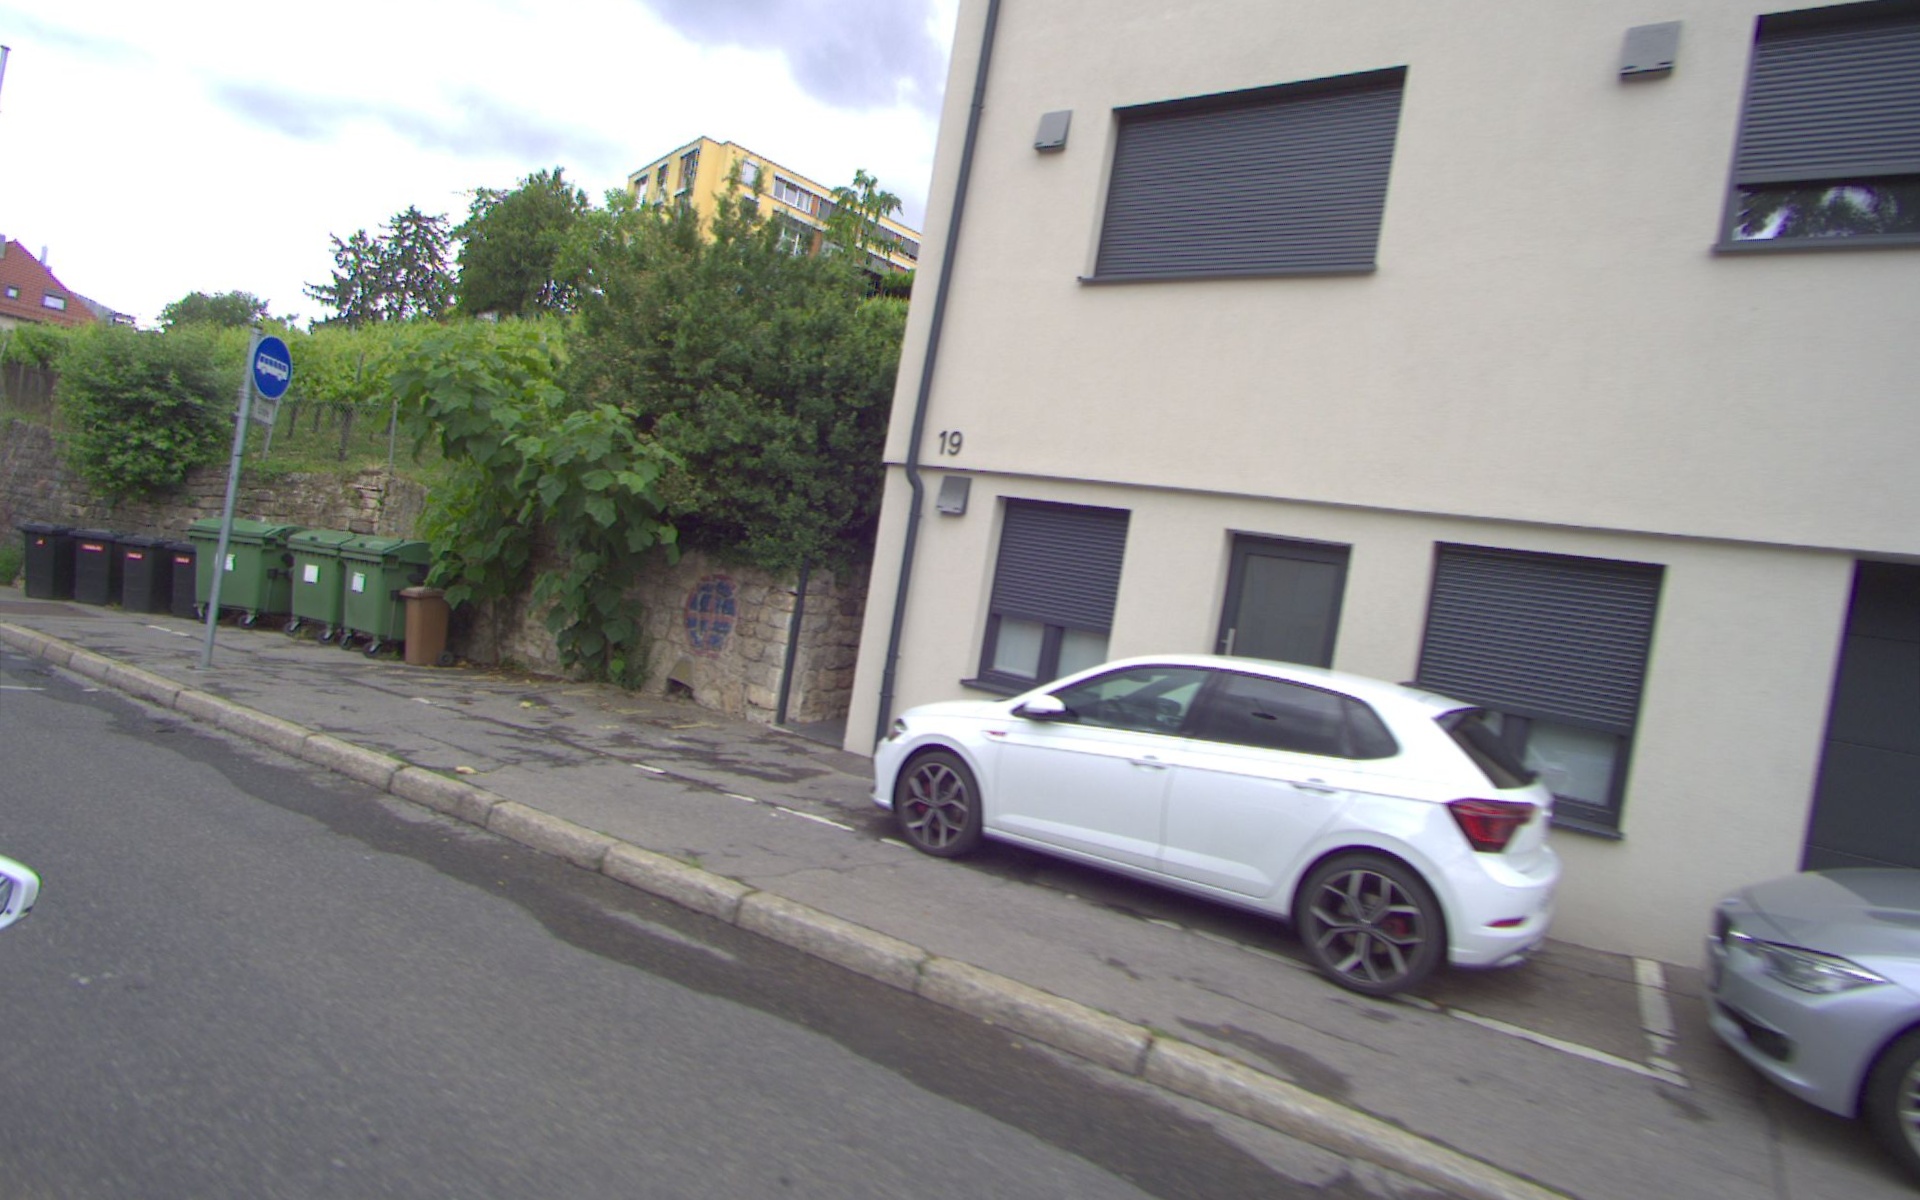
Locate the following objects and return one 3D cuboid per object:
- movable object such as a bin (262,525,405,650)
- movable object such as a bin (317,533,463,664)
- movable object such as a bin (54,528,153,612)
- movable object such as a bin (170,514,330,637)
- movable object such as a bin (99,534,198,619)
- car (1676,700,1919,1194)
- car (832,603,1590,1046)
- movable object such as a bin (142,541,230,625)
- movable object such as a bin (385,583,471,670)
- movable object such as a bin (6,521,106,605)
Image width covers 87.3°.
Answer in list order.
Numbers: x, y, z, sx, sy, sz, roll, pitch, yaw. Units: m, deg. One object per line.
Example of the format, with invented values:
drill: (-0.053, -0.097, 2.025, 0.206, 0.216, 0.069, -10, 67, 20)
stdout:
movable object such as a bin: (-8.334, -0.153, 13.399, 1.184, 1.462, 1.049, 7, 0, 29)
movable object such as a bin: (-7.211, -0.012, 12.745, 1.185, 1.462, 1.049, 7, 0, 32)
movable object such as a bin: (-12.225, -0.417, 14.375, 0.666, 1.071, 0.745, 7, 0, 16)
movable object such as a bin: (-9.810, -0.319, 13.936, 1.392, 1.462, 1.051, 7, 0, 16)
movable object such as a bin: (-11.440, -0.322, 14.194, 0.666, 1.071, 0.745, 7, 0, 16)
car: (5.160, 1.484, 3.076, 4.642, 1.471, 1.793, 8, 3, 35)
car: (1.356, 1.002, 6.071, 3.941, 1.441, 1.794, 8, 1, 35)
movable object such as a bin: (-10.831, -0.233, 14.096, 0.537, 1.071, 0.712, 7, 0, 16)
movable object such as a bin: (-6.449, 0.330, 12.203, 0.629, 0.953, 0.595, 7, 0, 32)
movable object such as a bin: (-12.932, -0.521, 14.404, 0.666, 1.071, 0.745, 7, 0, 16)
